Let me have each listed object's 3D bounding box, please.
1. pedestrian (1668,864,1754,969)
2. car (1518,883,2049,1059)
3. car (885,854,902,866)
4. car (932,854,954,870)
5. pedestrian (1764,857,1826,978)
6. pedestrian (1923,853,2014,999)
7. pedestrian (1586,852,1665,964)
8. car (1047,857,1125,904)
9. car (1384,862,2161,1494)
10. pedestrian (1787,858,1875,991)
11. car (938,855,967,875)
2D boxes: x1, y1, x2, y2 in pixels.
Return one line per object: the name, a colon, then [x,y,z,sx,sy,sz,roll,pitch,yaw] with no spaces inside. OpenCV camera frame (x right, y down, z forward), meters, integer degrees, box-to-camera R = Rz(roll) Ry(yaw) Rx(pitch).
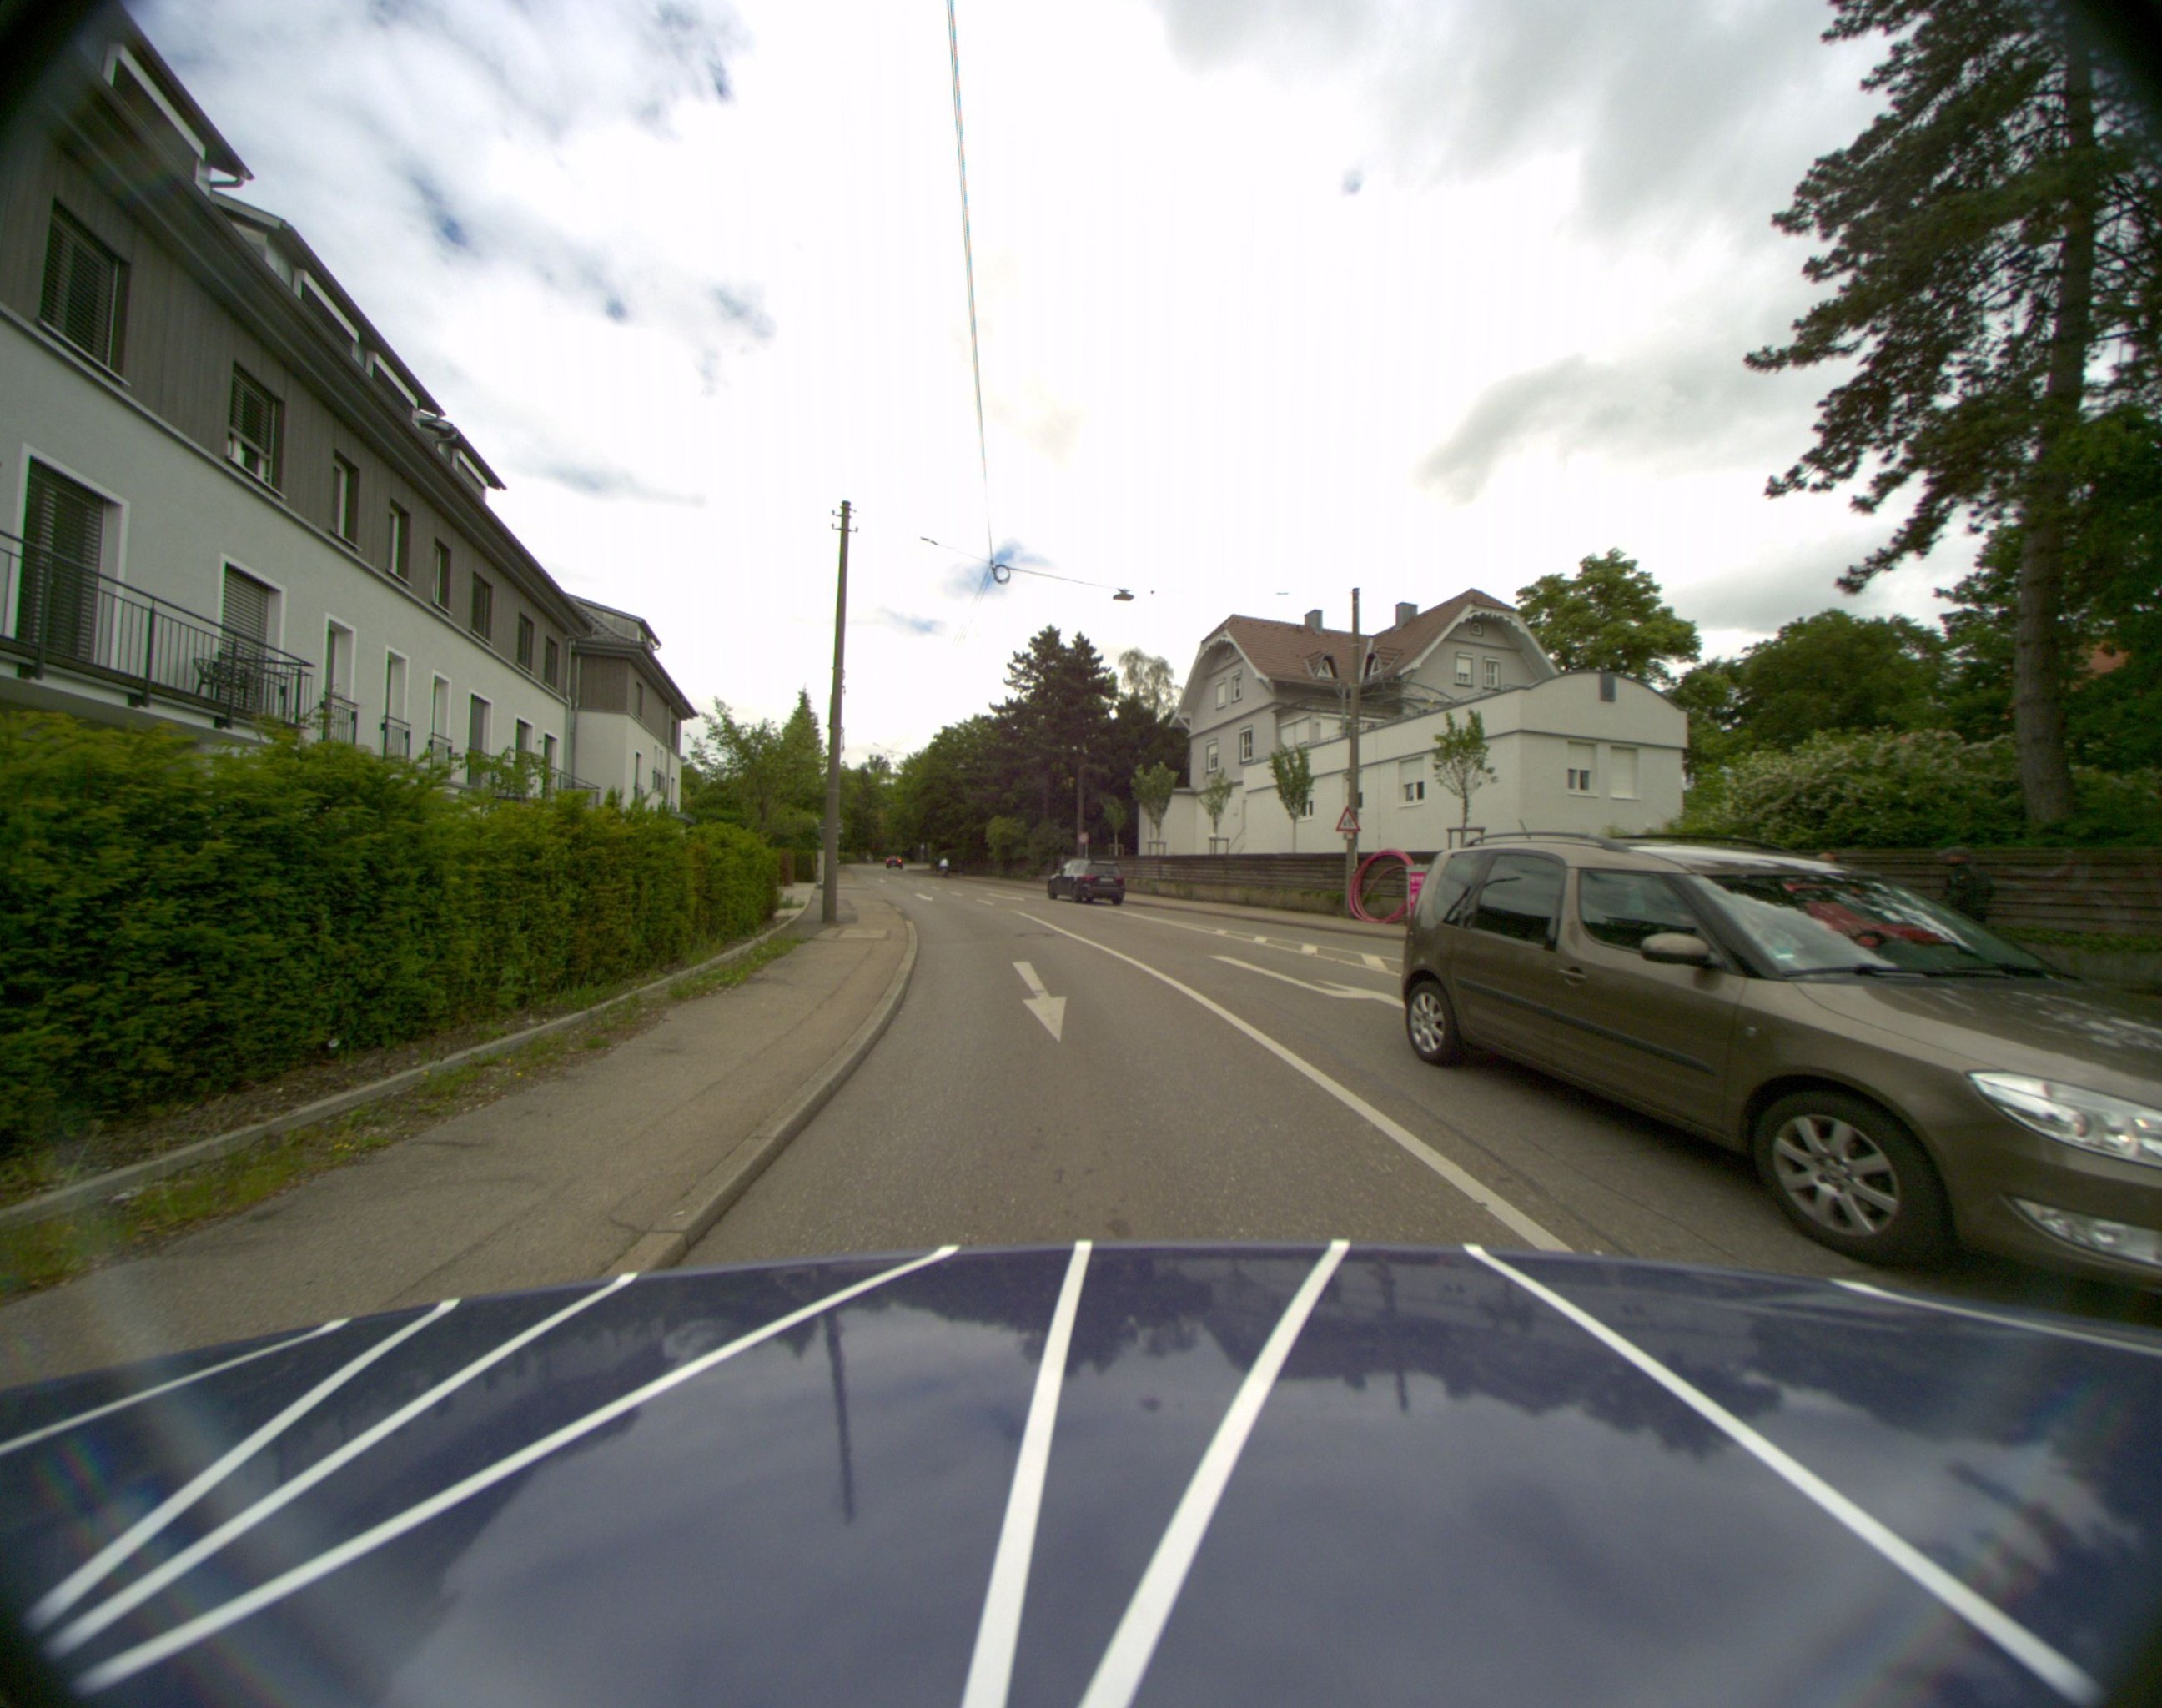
pedestrian: [10.309,0.995,12.440,0.881,1.643,0.750,1,0,-24]
car: [7.260,1.090,8.495,1.809,1.348,3.995,3,-1,-14]
car: [-24.530,0.830,99.441,2.001,1.508,3.994,1,0,-16]
car: [-14.619,0.821,80.270,1.684,1.619,3.614,2,-1,-19]
pedestrian: [10.933,0.954,11.640,0.510,1.802,0.504,1,0,-24]
pedestrian: [11.596,0.912,9.937,0.605,1.824,0.611,1,0,-25]
pedestrian: [9.080,0.876,12.682,0.881,1.803,0.686,1,0,-24]
car: [0.120,1.013,29.720,1.934,1.669,3.564,2,-1,-19]
car: [3.336,0.848,3.881,1.618,1.571,3.999,-1,0,-7]
pedestrian: [10.383,0.947,10.530,0.613,1.777,0.665,1,0,-23]
car: [-11.432,0.965,67.347,1.934,1.669,3.564,2,-1,-19]
